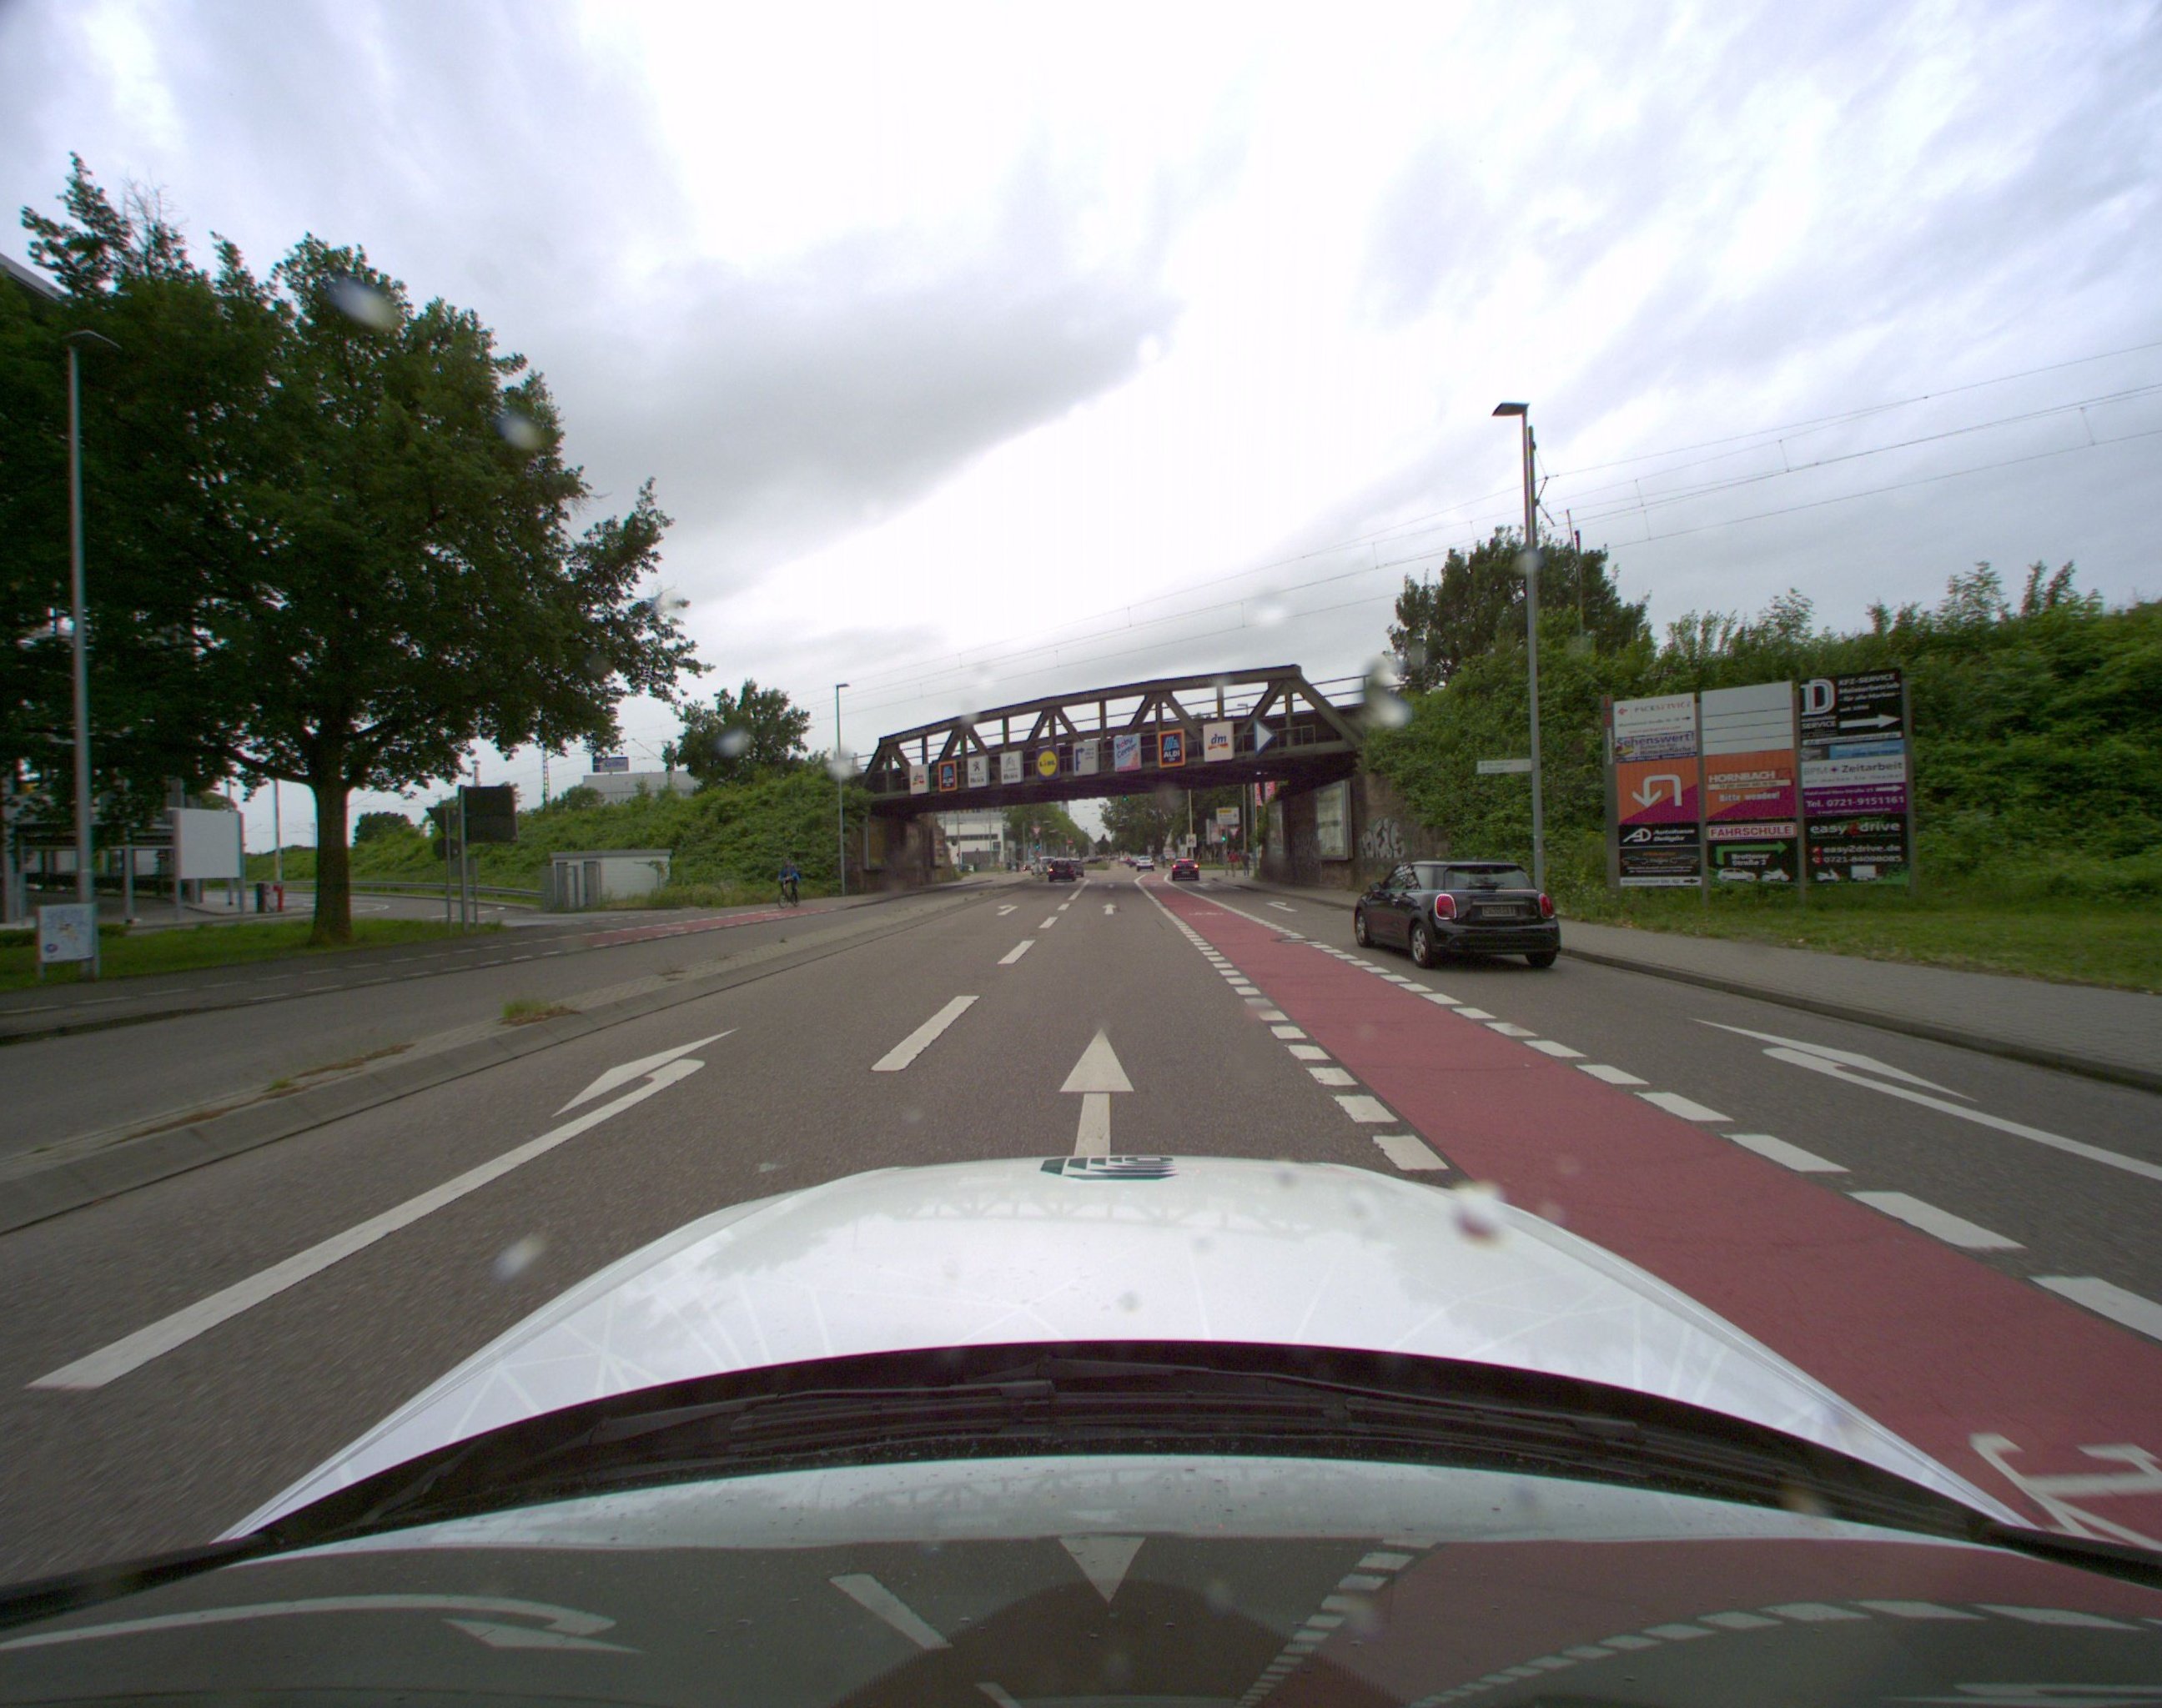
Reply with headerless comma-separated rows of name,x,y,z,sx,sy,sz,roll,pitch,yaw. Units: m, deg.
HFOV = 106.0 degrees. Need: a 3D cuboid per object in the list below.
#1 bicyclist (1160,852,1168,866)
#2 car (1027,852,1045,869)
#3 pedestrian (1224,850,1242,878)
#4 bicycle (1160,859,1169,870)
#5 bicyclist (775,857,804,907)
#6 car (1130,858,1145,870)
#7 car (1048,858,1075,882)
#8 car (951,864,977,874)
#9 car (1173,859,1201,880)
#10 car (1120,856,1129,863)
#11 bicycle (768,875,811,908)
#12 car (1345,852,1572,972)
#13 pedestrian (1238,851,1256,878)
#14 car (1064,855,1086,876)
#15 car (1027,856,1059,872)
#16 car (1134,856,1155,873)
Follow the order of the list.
bicyclist,9.870,0.614,97.088,0.813,1.630,1.235,-2,-1,1
car,-7.937,1.151,144.554,2.317,2.826,5.957,-2,-1,5
pedestrian,9.688,0.612,51.868,0.871,1.759,0.785,-2,0,-7
bicycle,9.901,1.260,97.084,0.813,1.212,2.684,-2,0,2
bicyclist,-11.048,1.052,30.869,0.699,1.874,1.020,0,-1,2
car,7.766,1.321,111.360,1.679,1.513,3.704,-1,0,-1
car,-1.302,1.073,55.272,1.763,1.527,3.667,-1,0,-1
car,-22.018,2.899,153.654,4.514,1.634,1.912,-3,0,-1
car,6.812,0.985,52.429,1.639,1.281,3.424,-1,0,5
car,9.410,1.242,175.762,1.790,1.513,3.704,-1,0,-1
bicycle,-11.047,1.404,30.930,0.710,1.187,2.372,0,-1,2
car,5.202,0.708,11.798,1.672,1.431,3.776,-1,0,2
pedestrian,10.115,0.638,49.726,0.734,1.640,0.783,-2,-1,42
car,-0.520,0.960,68.294,1.768,1.652,3.667,-1,0,-1
car,-3.853,1.021,81.852,1.967,1.527,4.982,-1,0,-17
car,6.582,1.061,84.430,1.818,1.600,3.774,-1,0,-1
